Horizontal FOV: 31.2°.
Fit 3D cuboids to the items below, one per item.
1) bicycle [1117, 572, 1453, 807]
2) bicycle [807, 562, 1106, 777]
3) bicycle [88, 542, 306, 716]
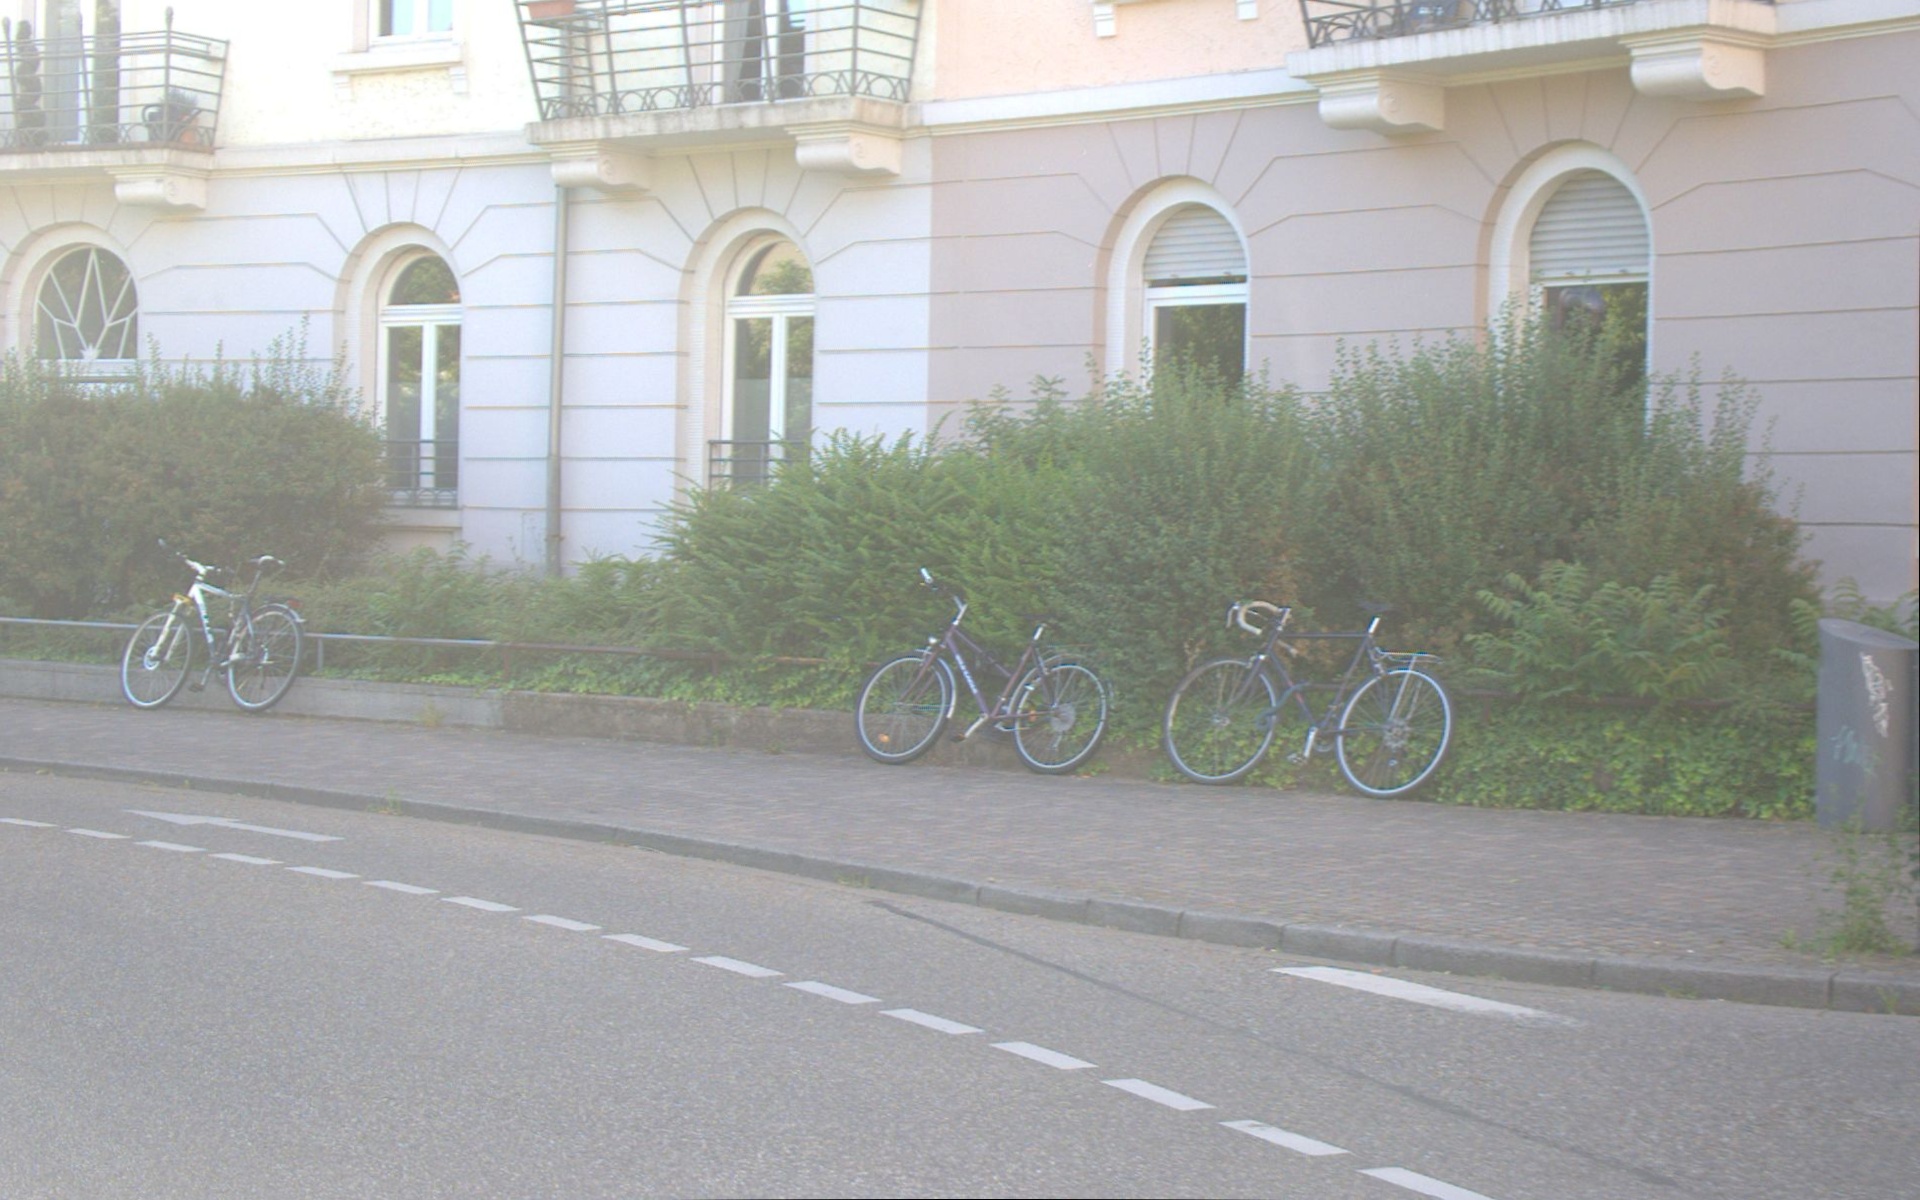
[{"bbox_3d":[1.619,0.425,17.283,1.685,1.084,0.501,2,3,39],"label":"bicycle"},{"bbox_3d":[-0.033,0.356,18.697,1.685,1.084,0.501,2,3,39],"label":"bicycle"},{"bbox_3d":[-5.072,0.173,22.795,1.685,1.084,0.501,2,3,41],"label":"bicycle"}]
